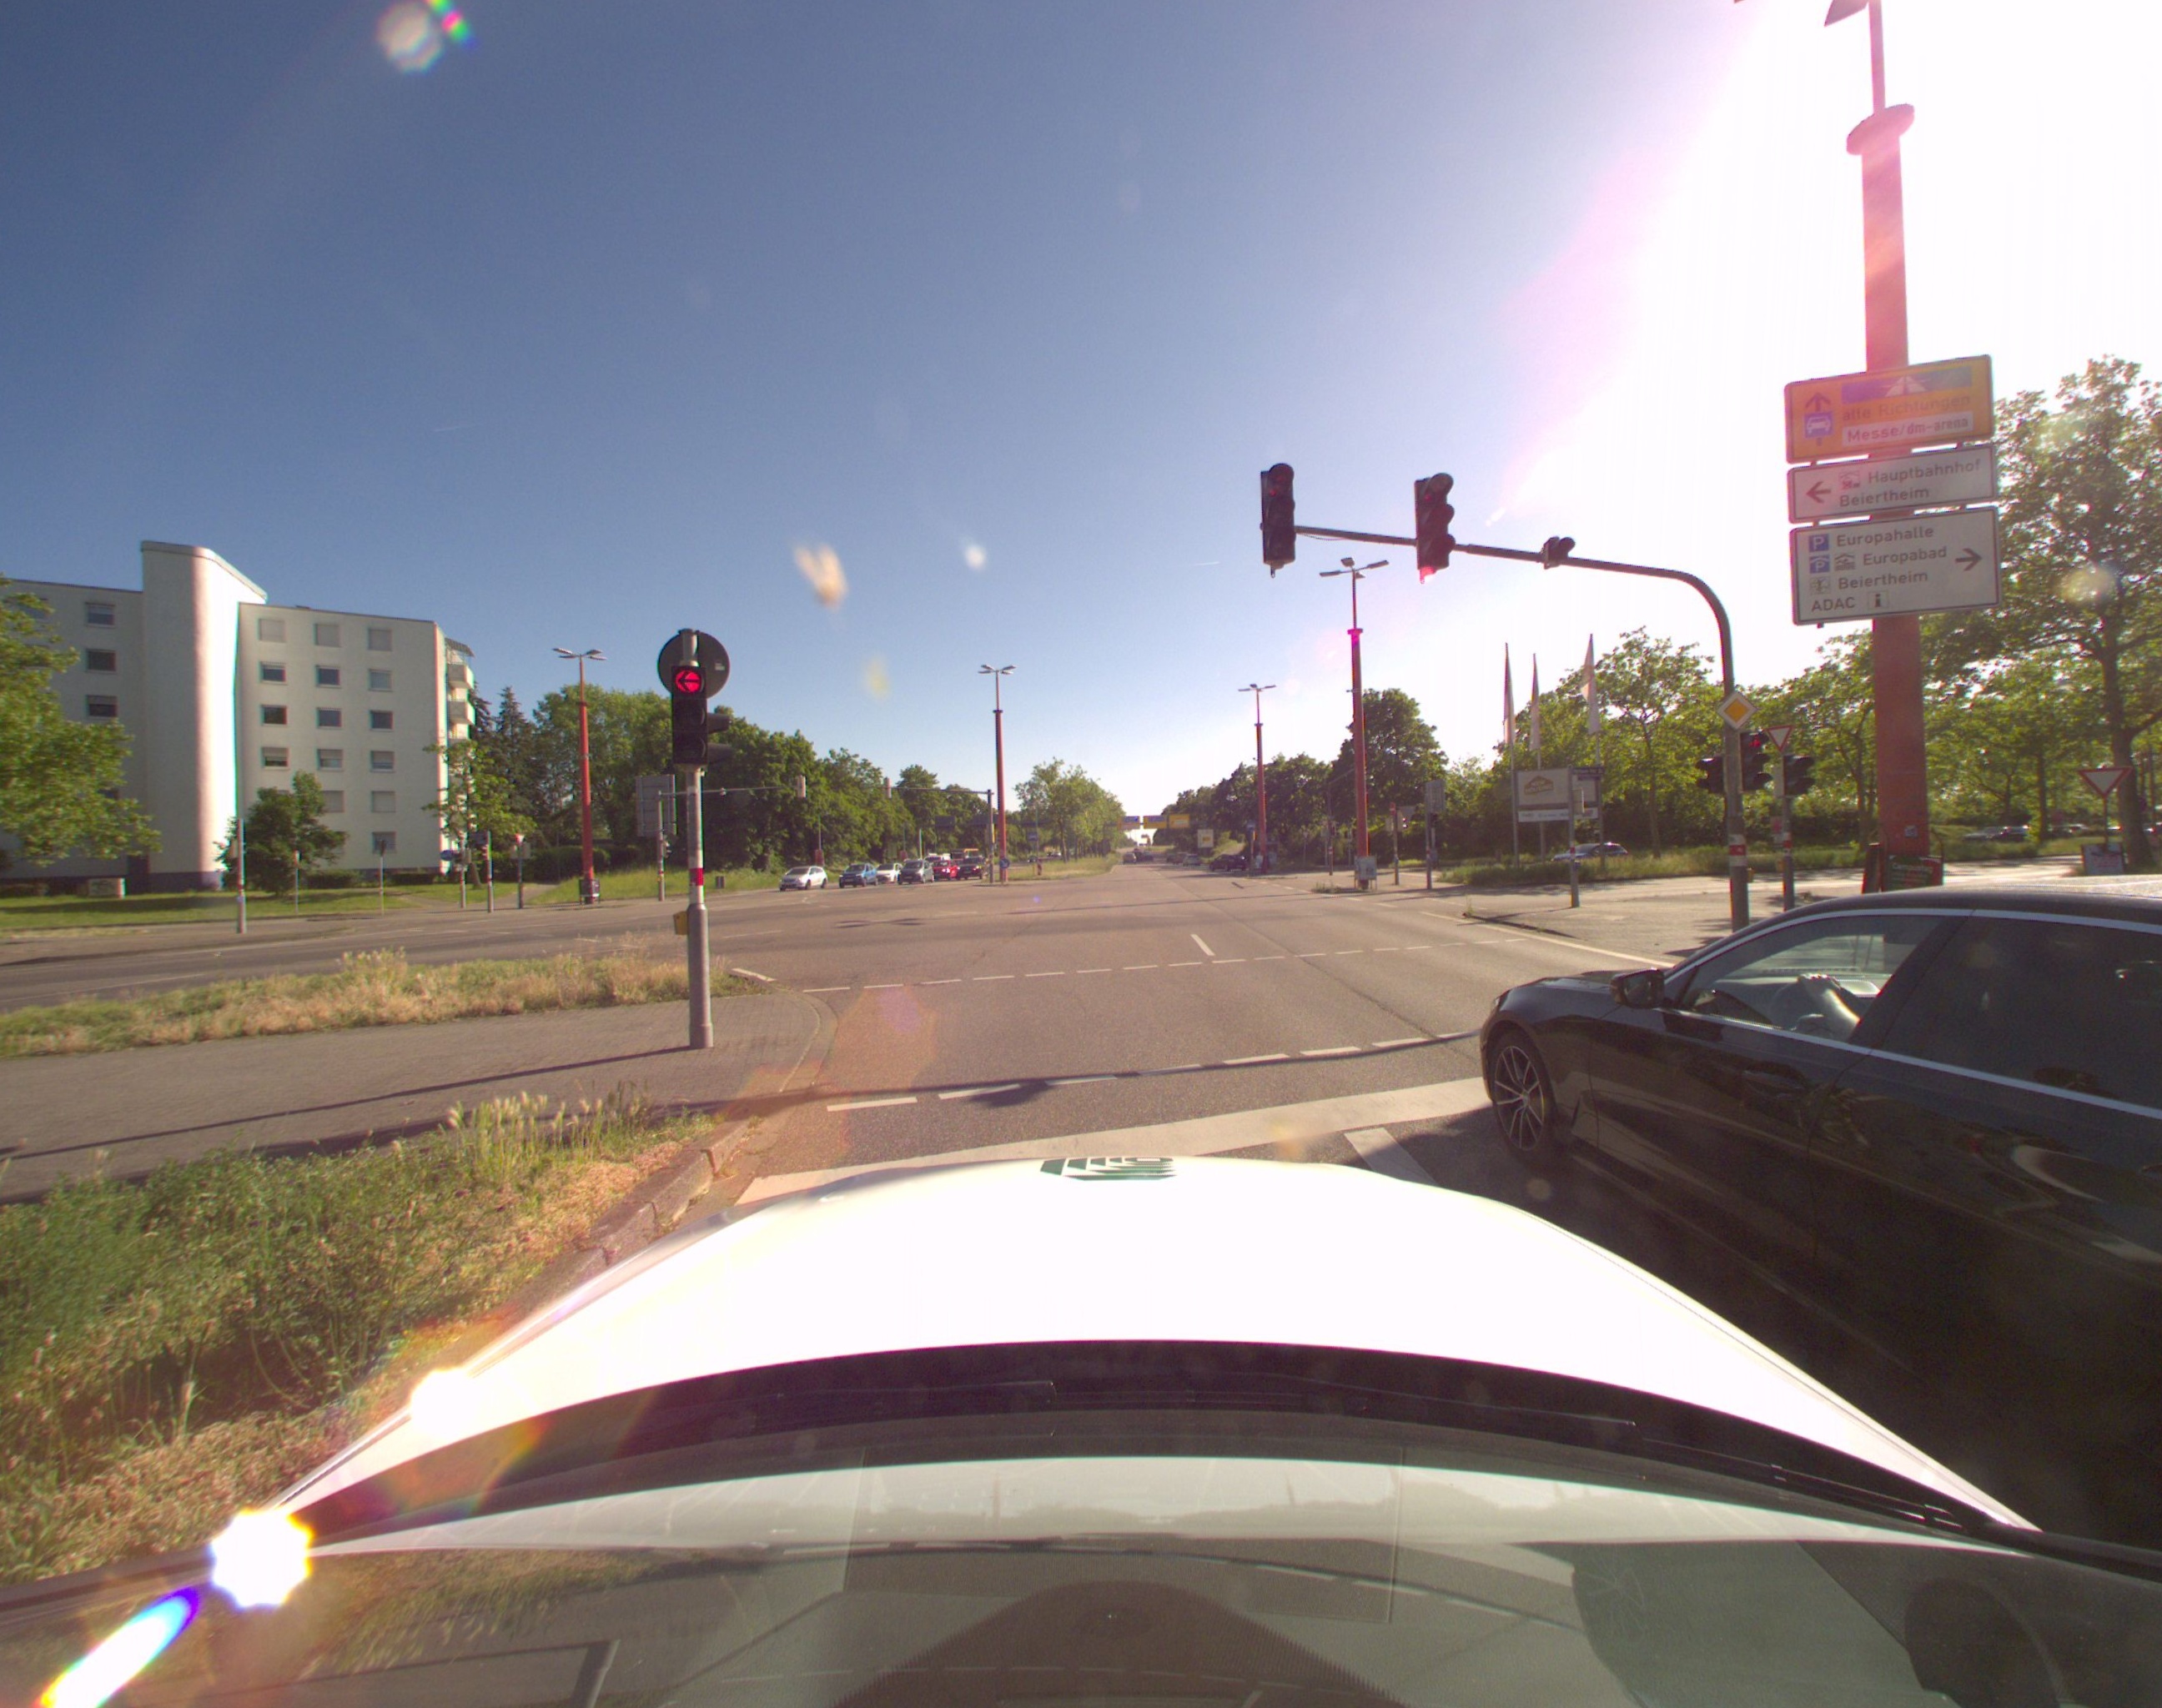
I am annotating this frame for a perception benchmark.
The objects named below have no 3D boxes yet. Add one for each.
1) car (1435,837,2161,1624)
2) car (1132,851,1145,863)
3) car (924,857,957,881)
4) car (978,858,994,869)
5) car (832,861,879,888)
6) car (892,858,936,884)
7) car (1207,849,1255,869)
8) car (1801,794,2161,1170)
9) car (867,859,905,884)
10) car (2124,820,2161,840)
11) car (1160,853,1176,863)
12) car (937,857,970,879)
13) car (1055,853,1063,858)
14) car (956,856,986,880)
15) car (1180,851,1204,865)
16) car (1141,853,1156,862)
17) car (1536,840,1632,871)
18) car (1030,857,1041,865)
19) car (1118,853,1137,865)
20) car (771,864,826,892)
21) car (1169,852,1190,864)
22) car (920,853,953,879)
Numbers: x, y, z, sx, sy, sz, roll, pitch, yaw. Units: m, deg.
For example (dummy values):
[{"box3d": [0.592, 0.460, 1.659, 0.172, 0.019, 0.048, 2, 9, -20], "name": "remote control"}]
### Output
[{"box3d": [2.957, 0.666, 2.376, 1.986, 1.394, 4.479, -2, 0, 2], "name": "car"}, {"box3d": [9.592, 0.515, 135.507, 1.986, 2.013, 4.002, -2, 0, 2], "name": "car"}, {"box3d": [-10.096, 1.048, 58.875, 1.991, 1.573, 4.112, -2, 0, -6], "name": "car"}, {"box3d": [-14.466, 1.407, 124.067, 1.987, 1.573, 4.119, -2, 0, -1], "name": "car"}, {"box3d": [-14.230, 1.286, 51.645, 1.989, 1.573, 4.116, -2, 0, -3], "name": "car"}, {"box3d": [-10.726, 1.047, 52.584, 1.988, 1.573, 4.119, -2, 0, -1], "name": "car"}, {"box3d": [12.601, 0.408, 68.604, 2.166, 1.573, 4.252, -2, 0, -20], "name": "car"}, {"box3d": [5.804, 0.561, 3.265, 1.959, 1.686, 4.479, -1, 0, 2], "name": "car"}, {"box3d": [-13.732, 1.218, 57.527, 1.991, 1.573, 4.112, -3, 0, -6], "name": "car"}, {"box3d": [88.145, -1.961, 65.849, 2.151, 1.573, 4.281, -2, 0, 1], "name": "car"}, {"box3d": [13.947, 0.636, 130.175, 1.948, 1.442, 4.277, -2, 0, -2], "name": "car"}, {"box3d": [-10.059, 1.095, 64.657, 1.988, 1.573, 4.118, -2, 0, -1], "name": "car"}, {"box3d": [-6.007, 0.352, 226.075, 1.877, 1.454, 3.658, -2, 0, 2], "name": "car"}, {"box3d": [-7.559, 0.940, 56.493, 1.874, 1.573, 4.112, -2, 0, -6], "name": "car"}, {"box3d": [13.289, 0.480, 97.508, 2.153, 1.573, 4.277, -2, 0, -2], "name": "car"}, {"box3d": [12.313, 0.669, 149.167, 2.153, 1.573, 4.277, -2, 0, -2], "name": "car"}, {"box3d": [26.099, 0.068, 42.284, 4.276, 1.428, 1.874, -2, 0, -16], "name": "car"}, {"box3d": [-9.737, 1.403, 173.318, 1.987, 1.573, 4.120, -2, 0, 0], "name": "car"}, {"box3d": [6.696, 0.721, 116.558, 2.241, 1.573, 4.276, -2, 0, -3], "name": "car"}, {"box3d": [-17.687, 1.469, 51.185, 1.987, 1.573, 4.120, -2, 0, 0], "name": "car"}, {"box3d": [13.424, 0.505, 111.070, 2.153, 1.573, 4.277, -2, 0, -2], "name": "car"}, {"box3d": [-12.727, 1.055, 71.990, 2.055, 2.193, 4.377, -2, 0, 0], "name": "car"}]
